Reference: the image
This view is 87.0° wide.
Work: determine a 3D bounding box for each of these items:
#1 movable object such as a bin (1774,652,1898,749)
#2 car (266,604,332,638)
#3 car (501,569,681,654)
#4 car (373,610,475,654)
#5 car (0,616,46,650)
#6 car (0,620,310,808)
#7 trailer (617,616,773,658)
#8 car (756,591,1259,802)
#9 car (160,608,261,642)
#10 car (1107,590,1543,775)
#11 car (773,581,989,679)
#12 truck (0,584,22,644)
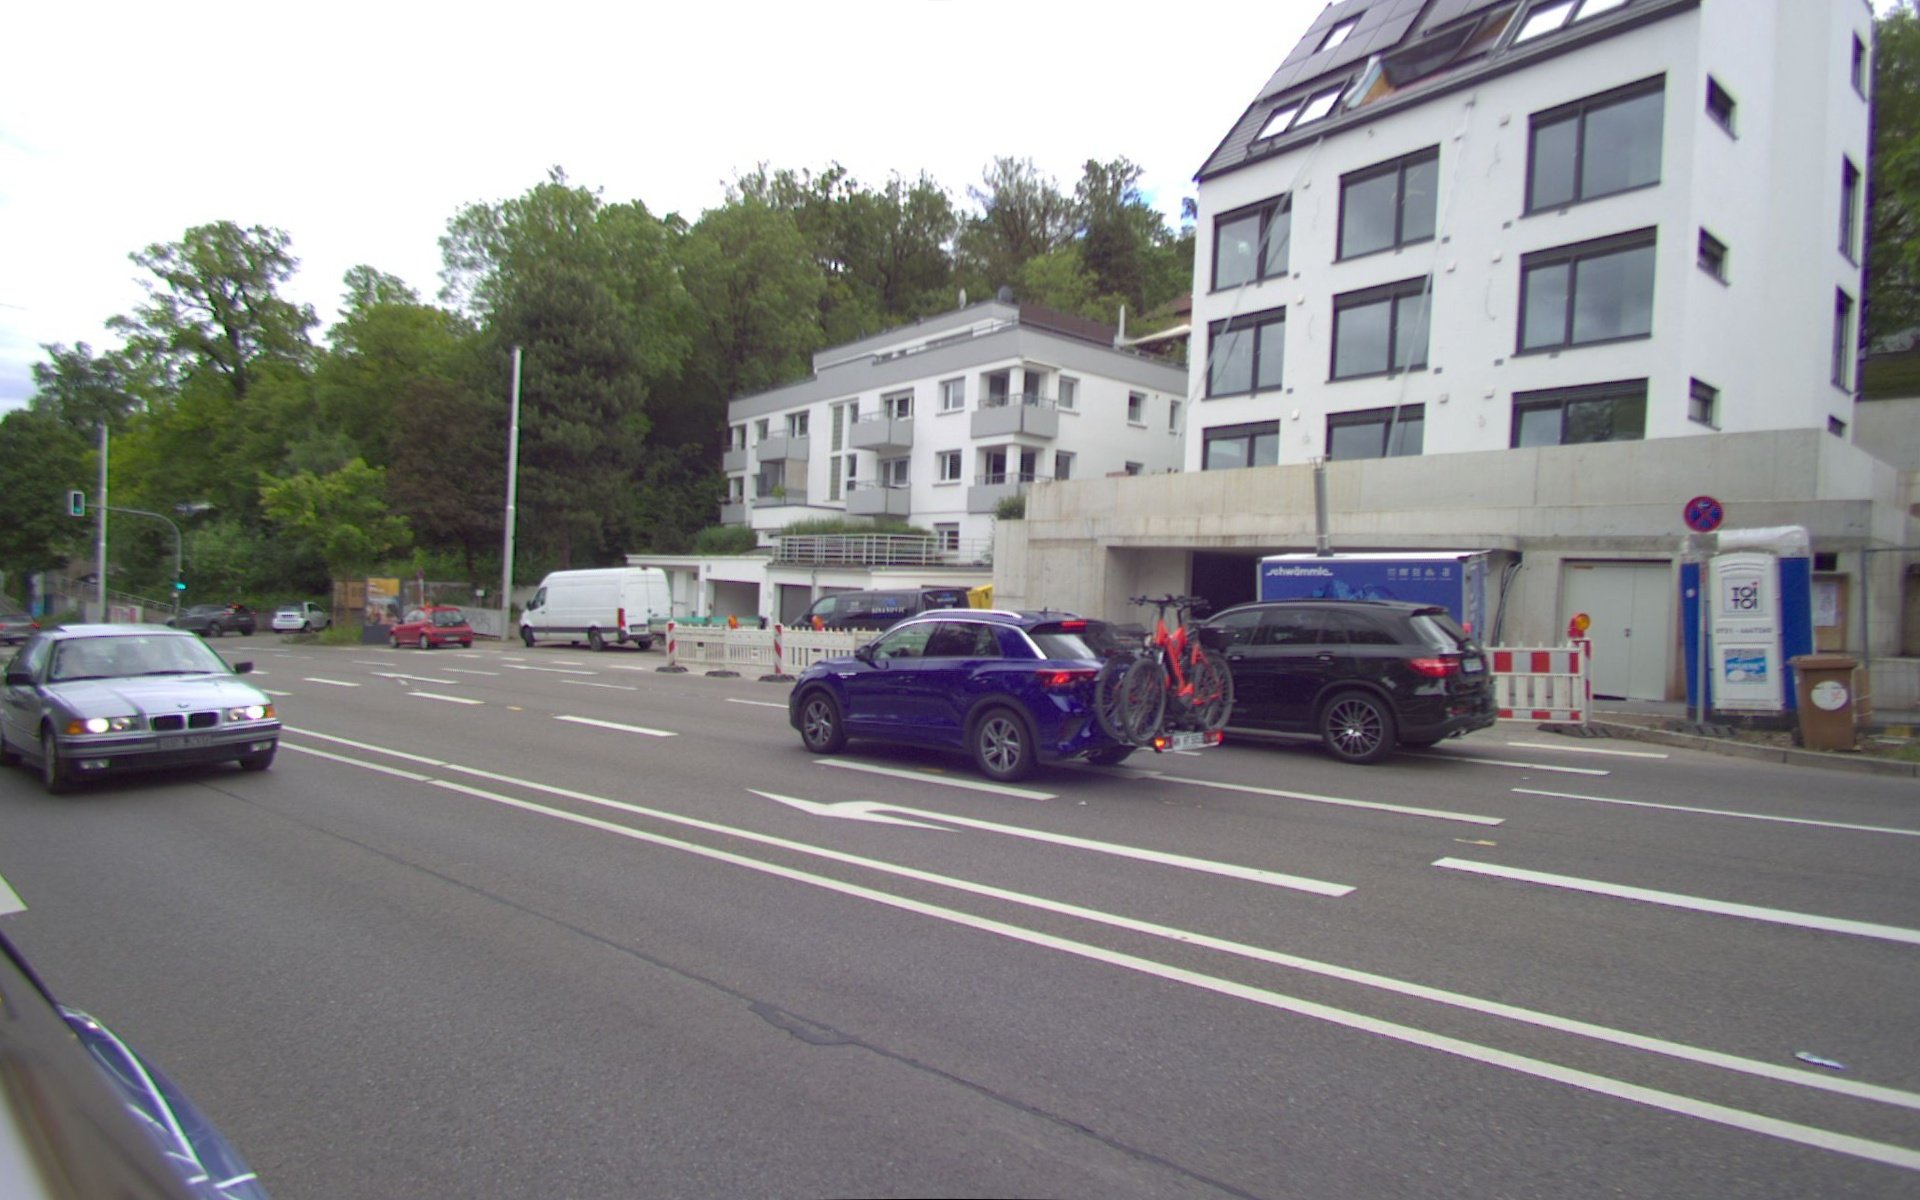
[{"bbox_3d":[8.564,0.967,9.921,0.640,0.886,0.658,-1,0,9],"label":"movable object such as a bin"},{"bbox_3d":[-33.686,1.038,51.644,1.542,1.531,2.711,-1,3,0],"label":"car"},{"bbox_3d":[-12.529,0.405,33.986,7.414,2.587,2.209,-1,-1,39],"label":"car"},{"bbox_3d":[-19.014,1.098,35.833,3.918,1.476,1.607,-1,-1,35],"label":"car"},{"bbox_3d":[-41.360,1.413,43.840,4.276,1.404,1.826,-1,-1,37],"label":"car"},{"bbox_3d":[-8.299,0.929,9.980,4.608,1.404,1.736,-1,0,38],"label":"car"},{"bbox_3d":[-7.950,1.057,30.148,4.617,1.120,2.224,-1,-1,39],"label":"trailer"},{"bbox_3d":[0.191,0.767,10.170,5.185,1.608,1.751,-1,-1,44],"label":"car"},{"bbox_3d":[-35.558,1.194,48.031,4.091,1.551,1.592,-1,-1,13],"label":"car"},{"bbox_3d":[3.830,0.761,11.089,4.143,1.646,1.751,-1,-1,44],"label":"car"},{"bbox_3d":[-1.914,0.645,23.045,5.220,1.982,1.960,-1,-1,44],"label":"car"},{"bbox_3d":[-52.145,0.771,52.148,8.939,2.993,2.942,-1,0,29],"label":"truck"}]
